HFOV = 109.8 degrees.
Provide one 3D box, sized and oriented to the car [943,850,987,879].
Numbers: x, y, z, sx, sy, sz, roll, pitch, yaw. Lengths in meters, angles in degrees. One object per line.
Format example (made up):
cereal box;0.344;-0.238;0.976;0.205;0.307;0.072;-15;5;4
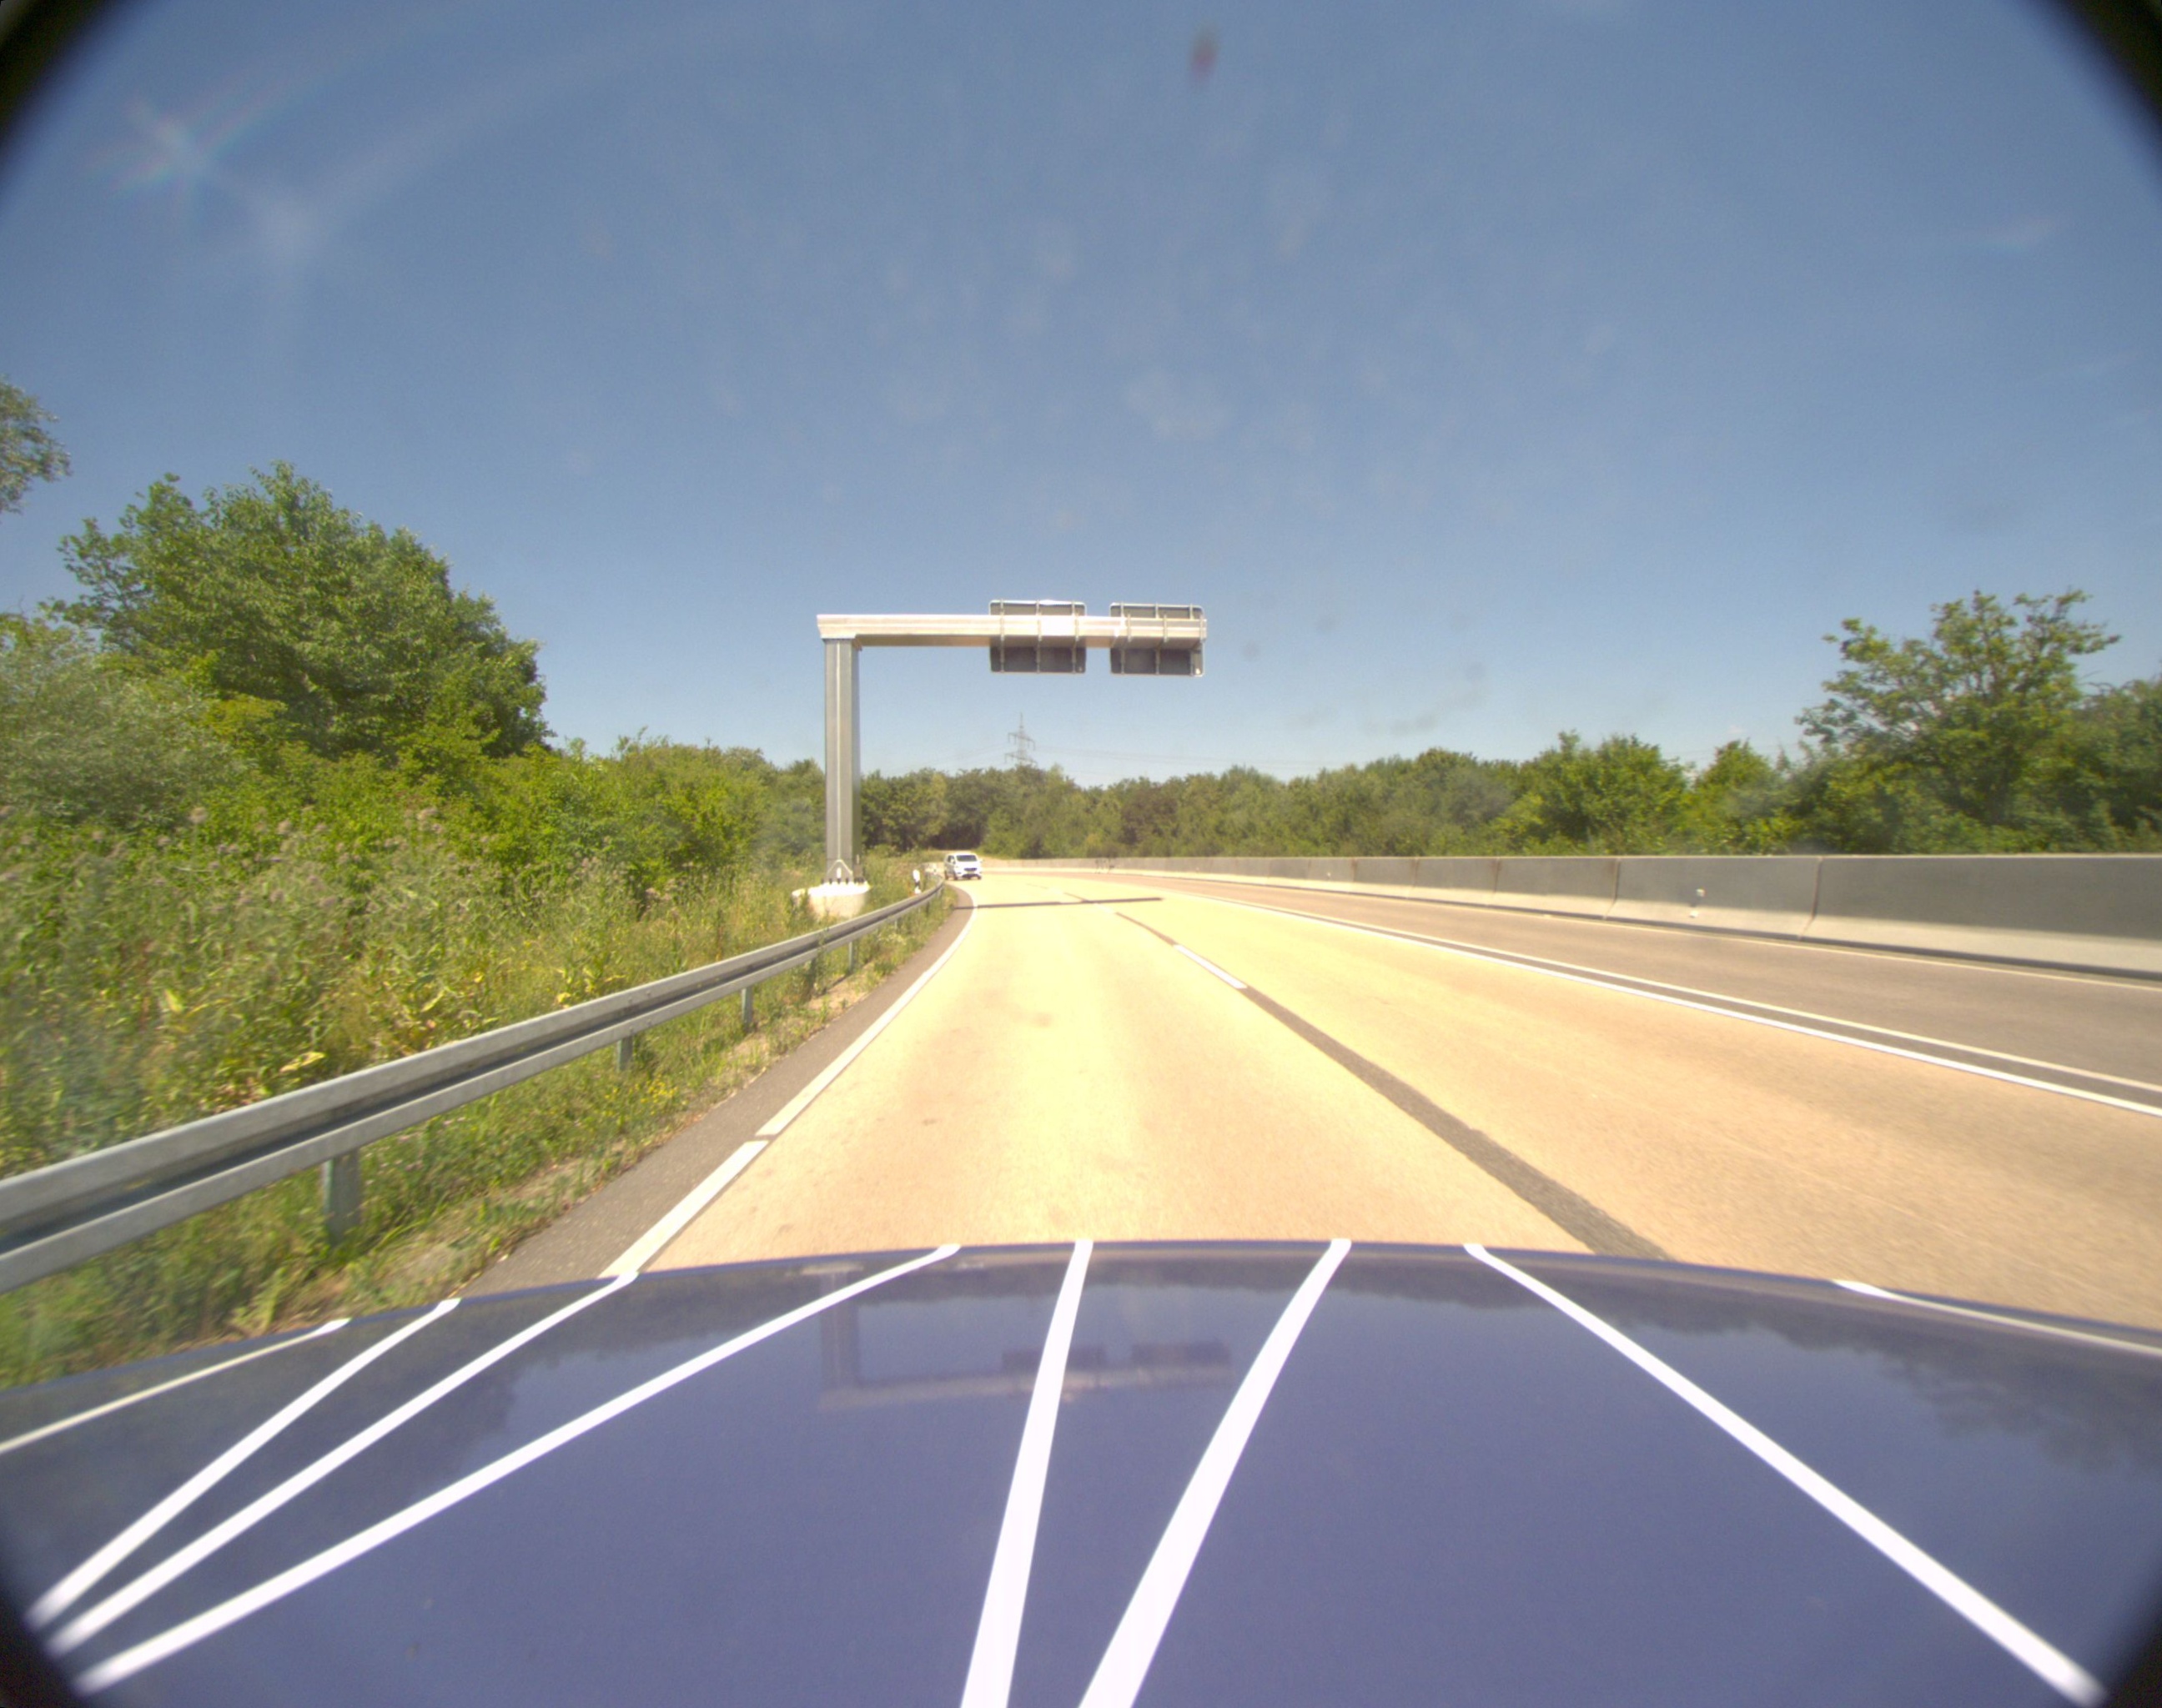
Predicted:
car;-8.724;0.741;56.774;2.066;2.002;5.032;-3;1;-22
